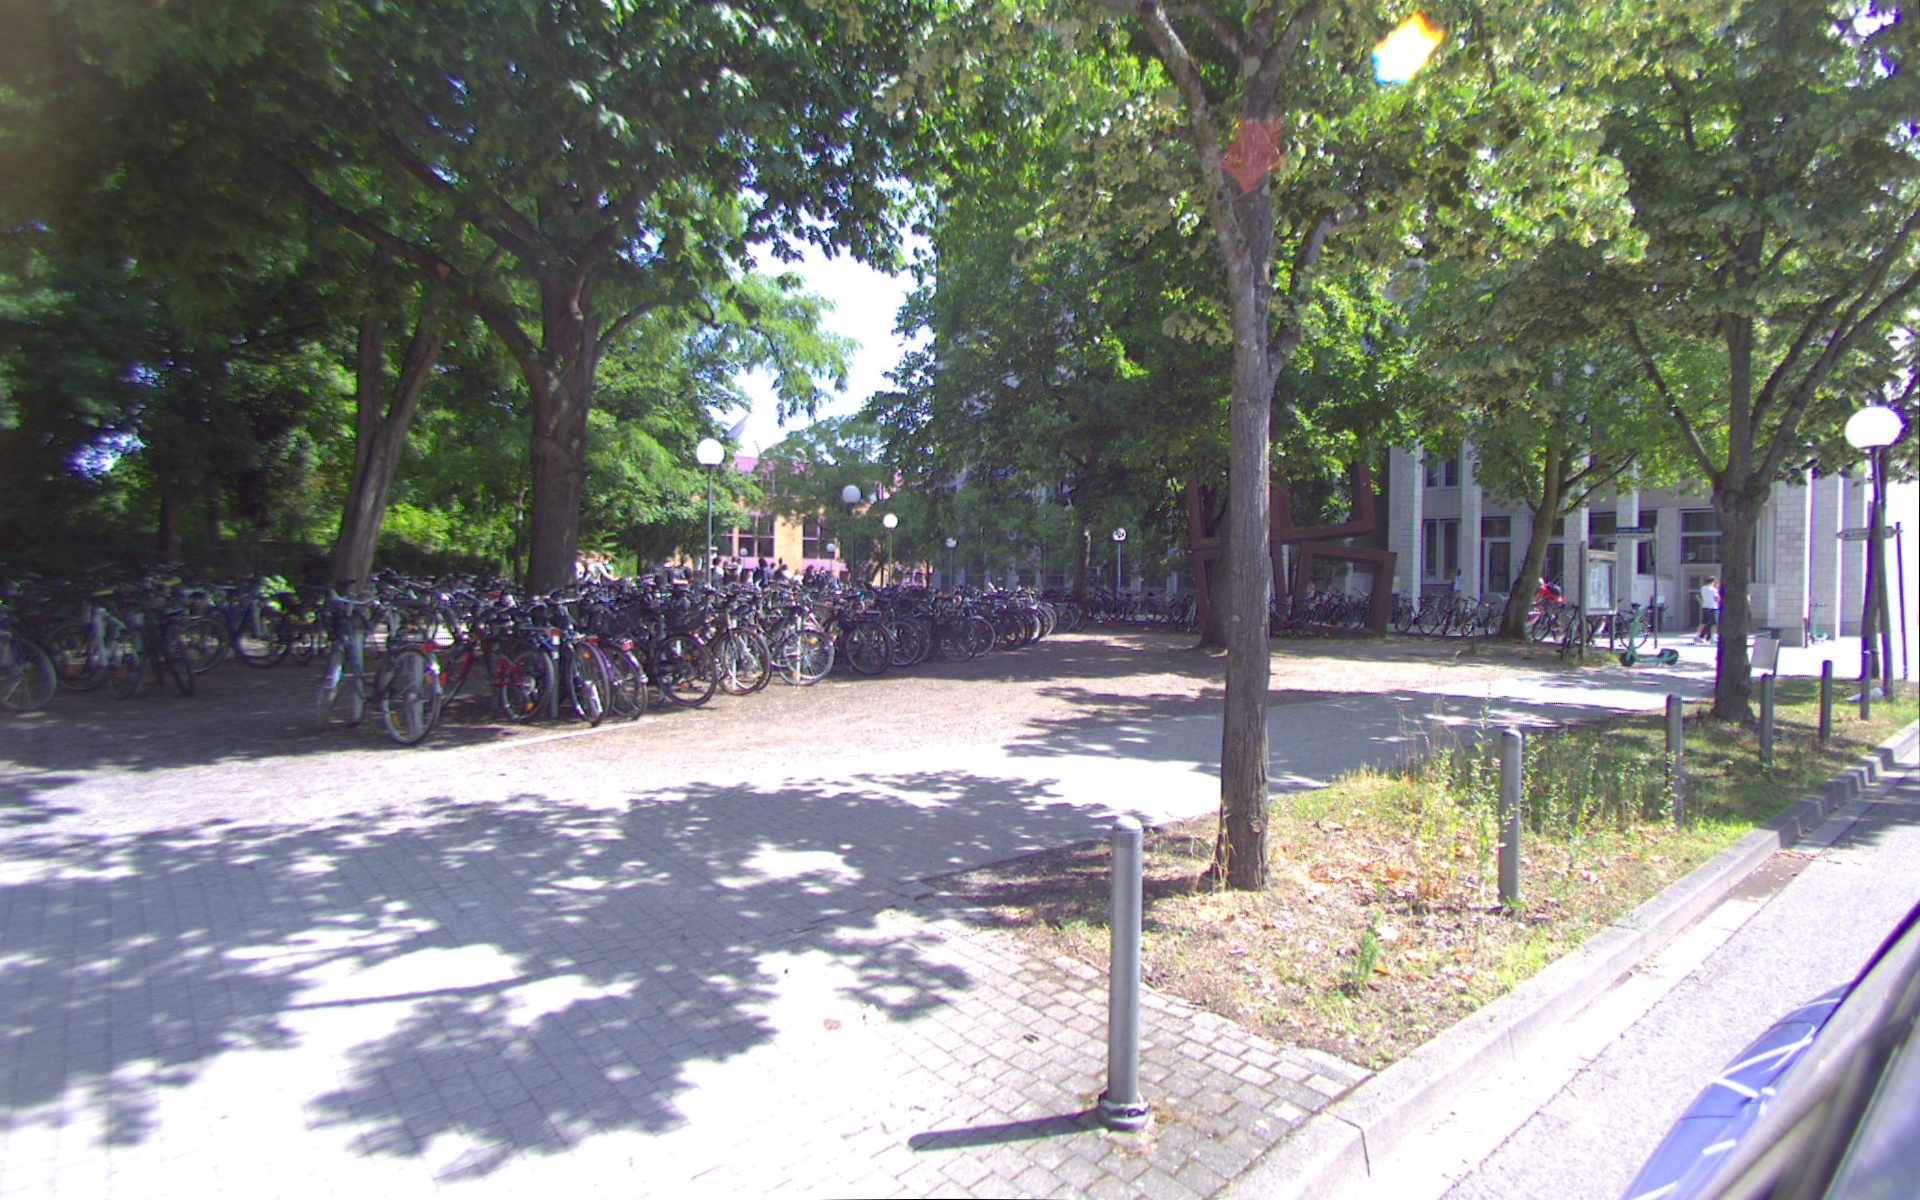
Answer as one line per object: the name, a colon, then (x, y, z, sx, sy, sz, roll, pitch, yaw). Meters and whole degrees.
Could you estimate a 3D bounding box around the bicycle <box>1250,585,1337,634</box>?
bicycle: (7.952, 0.208, 24.190, 1.895, 1.123, 0.630, 1, 2, 13)

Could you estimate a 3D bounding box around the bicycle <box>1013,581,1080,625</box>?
bicycle: (2.392, 0.076, 27.957, 1.816, 1.185, 0.412, 1, 1, 11)

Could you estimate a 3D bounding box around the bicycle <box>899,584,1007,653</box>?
bicycle: (-0.128, 0.297, 17.044, 1.772, 1.083, 0.423, 2, 1, 22)

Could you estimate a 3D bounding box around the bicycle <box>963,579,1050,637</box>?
bicycle: (1.003, 0.170, 21.835, 1.817, 1.185, 0.344, 1, 1, 13)

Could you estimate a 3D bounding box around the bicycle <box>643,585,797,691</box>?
bicycle: (-2.685, 0.390, 11.243, 1.895, 1.072, 0.322, 2, 1, 27)

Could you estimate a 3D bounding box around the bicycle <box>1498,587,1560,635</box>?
bicycle: (14.471, 0.286, 25.740, 1.494, 1.155, 0.493, 3, 1, -21)

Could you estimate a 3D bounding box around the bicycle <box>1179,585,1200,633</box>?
bicycle: (5.755, 0.201, 25.413, 0.468, 1.123, 1.664, 1, 2, 12)

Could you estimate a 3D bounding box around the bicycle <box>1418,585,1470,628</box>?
bicycle: (13.148, 0.196, 27.458, 1.664, 1.099, 0.482, 2, 1, -36)

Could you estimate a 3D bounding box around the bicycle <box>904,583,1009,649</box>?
bicycle: (-0.056, 0.267, 17.672, 1.767, 1.083, 0.425, 1, 1, 14)

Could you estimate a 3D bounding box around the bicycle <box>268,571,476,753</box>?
bicycle: (-4.443, 0.391, 7.580, 2.010, 1.181, 0.643, 2, 1, 38)

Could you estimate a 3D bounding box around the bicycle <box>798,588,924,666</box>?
bicycle: (-1.415, 0.364, 14.380, 1.769, 1.041, 0.380, 2, 1, 18)

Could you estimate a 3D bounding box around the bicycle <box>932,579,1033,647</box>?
bicycle: (0.409, 0.226, 18.434, 1.768, 1.185, 0.401, 2, 1, 16)

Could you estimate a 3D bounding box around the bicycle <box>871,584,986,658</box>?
bicycle: (-0.501, 0.312, 15.906, 1.770, 1.083, 0.424, 2, 1, 20)

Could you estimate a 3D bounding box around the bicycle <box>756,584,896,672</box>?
bicycle: (-1.724, 0.340, 13.036, 1.712, 1.065, 0.492, 1, 1, 13)

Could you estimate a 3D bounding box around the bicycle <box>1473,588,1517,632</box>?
bicycle: (14.073, 0.264, 26.605, 1.447, 1.099, 0.460, 2, 1, -40)

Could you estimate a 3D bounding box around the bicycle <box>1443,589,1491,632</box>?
bicycle: (13.673, 0.280, 27.268, 1.486, 1.099, 0.482, 2, 1, -36)

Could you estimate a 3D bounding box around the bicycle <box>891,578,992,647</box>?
bicycle: (-0.337, 0.210, 18.229, 1.768, 1.185, 0.401, 2, 1, 16)

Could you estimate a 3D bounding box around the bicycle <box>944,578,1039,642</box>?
bicycle: (0.618, 0.187, 19.803, 1.819, 1.185, 0.344, 2, 1, 16)

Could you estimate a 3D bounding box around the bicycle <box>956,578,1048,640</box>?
bicycle: (0.837, 0.176, 20.276, 1.811, 1.185, 0.345, 1, 1, 2)

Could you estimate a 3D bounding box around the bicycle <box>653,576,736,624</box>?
bicycle: (-5.825, -0.009, 22.199, 1.880, 0.991, 0.376, 2, 2, 20)

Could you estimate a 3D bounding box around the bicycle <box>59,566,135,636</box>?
bicycle: (-13.942, -0.004, 16.330, 1.737, 1.052, 0.344, 2, 2, 29)

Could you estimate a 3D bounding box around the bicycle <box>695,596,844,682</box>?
bicycle: (-2.252, 0.439, 11.924, 1.717, 0.921, 0.491, 2, 1, 21)

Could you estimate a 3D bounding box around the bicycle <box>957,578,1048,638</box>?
bicycle: (0.861, 0.159, 20.649, 1.811, 1.185, 0.345, 1, 1, 2)

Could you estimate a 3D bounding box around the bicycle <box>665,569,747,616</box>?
bicycle: (-5.665, -0.175, 22.584, 1.880, 0.991, 0.376, 2, 2, 20)

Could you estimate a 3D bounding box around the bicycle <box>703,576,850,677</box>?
bicycle: (-2.257, 0.307, 12.455, 1.712, 1.169, 0.492, 1, 1, 13)

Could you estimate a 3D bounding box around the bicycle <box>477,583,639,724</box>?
bicycle: (-3.562, 0.416, 8.877, 1.940, 1.096, 0.399, 2, 1, 38)

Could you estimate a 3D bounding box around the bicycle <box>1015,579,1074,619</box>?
bicycle: (2.644, -0.035, 31.835, 1.812, 1.185, 0.345, 1, 1, 5)

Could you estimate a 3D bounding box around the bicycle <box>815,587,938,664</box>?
bicycle: (-1.218, 0.352, 14.690, 1.769, 1.041, 0.379, 2, 1, 18)

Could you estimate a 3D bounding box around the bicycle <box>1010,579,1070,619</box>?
bicycle: (2.484, -0.042, 31.499, 1.812, 1.185, 0.345, 1, 1, 5)

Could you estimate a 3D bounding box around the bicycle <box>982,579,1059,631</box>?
bicycle: (1.454, 0.107, 24.380, 1.817, 1.185, 0.352, 1, 1, 13)

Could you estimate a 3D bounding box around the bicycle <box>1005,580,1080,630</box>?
bicycle: (2.052, 0.113, 25.143, 1.817, 1.185, 0.352, 1, 1, 13)

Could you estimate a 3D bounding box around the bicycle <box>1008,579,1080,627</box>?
bicycle: (2.156, 0.062, 25.977, 1.816, 1.185, 0.387, 1, 1, 11)

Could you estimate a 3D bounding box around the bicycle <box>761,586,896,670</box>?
bicycle: (-1.765, 0.360, 13.544, 1.773, 1.041, 0.438, 2, 1, 18)

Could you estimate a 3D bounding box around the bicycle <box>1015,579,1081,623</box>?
bicycle: (2.475, 0.016, 28.446, 1.816, 1.185, 0.412, 1, 1, 11)

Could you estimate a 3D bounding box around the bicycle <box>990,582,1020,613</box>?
bicycle: (1.643, -0.101, 36.808, 0.350, 1.097, 1.452, 1, 1, 36)

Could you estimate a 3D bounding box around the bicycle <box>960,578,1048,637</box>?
bicycle: (0.929, 0.149, 21.497, 1.817, 1.185, 0.344, 1, 1, 13)

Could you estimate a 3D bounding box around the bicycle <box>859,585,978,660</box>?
bicycle: (-0.639, 0.325, 15.490, 1.770, 1.083, 0.424, 2, 1, 20)

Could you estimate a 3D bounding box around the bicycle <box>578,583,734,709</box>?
bicycle: (-2.995, 0.405, 9.858, 1.940, 1.096, 0.399, 2, 1, 38)

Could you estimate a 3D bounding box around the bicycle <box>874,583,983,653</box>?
bicycle: (-0.529, 0.288, 16.762, 1.772, 1.083, 0.423, 2, 1, 22)

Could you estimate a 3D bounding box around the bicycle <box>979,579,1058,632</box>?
bicycle: (1.382, 0.120, 24.030, 1.817, 1.185, 0.352, 1, 1, 13)

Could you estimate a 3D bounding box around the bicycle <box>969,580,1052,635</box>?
bicycle: (1.143, 0.165, 22.891, 1.817, 1.185, 0.352, 1, 1, 13)

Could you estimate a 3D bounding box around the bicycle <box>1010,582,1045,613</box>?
bicycle: (2.423, -0.087, 36.144, 1.448, 1.097, 0.352, 0, 1, -45)

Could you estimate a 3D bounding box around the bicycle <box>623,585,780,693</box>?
bicycle: (-2.829, 0.395, 10.971, 1.895, 1.072, 0.322, 2, 1, 27)

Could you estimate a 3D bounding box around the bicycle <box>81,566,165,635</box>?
bicycle: (-13.778, -0.011, 16.647, 1.737, 1.052, 0.474, 2, 2, 29)

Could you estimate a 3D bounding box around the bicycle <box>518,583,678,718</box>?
bicycle: (-3.339, 0.413, 9.243, 1.940, 1.096, 0.399, 2, 1, 38)

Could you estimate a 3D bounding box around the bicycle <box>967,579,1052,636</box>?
bicycle: (1.076, 0.157, 22.164, 1.817, 1.185, 0.344, 1, 1, 13)

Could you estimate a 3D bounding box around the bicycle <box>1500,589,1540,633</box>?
bicycle: (14.648, 0.285, 26.481, 1.416, 1.099, 0.460, 2, 1, -44)

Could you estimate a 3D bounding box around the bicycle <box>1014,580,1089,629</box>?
bicycle: (2.303, 0.110, 25.477, 1.817, 1.185, 0.387, 1, 1, 13)

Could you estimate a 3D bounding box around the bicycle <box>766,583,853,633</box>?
bicycle: (-3.216, 0.156, 21.602, 1.880, 0.991, 0.376, 2, 2, 20)

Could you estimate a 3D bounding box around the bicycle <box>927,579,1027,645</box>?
bicycle: (0.320, 0.210, 19.137, 1.819, 1.185, 0.401, 2, 1, 16)

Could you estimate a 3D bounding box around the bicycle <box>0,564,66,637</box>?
bicycle: (-14.603, -0.014, 15.733, 1.816, 1.052, 0.474, 2, 2, 29)

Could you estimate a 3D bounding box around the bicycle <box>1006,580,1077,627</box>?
bicycle: (2.152, 0.083, 26.604, 1.816, 1.185, 0.412, 1, 1, 11)

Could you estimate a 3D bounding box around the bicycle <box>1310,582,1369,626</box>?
bicycle: (10.176, 0.118, 27.098, 1.792, 1.091, 0.464, 2, 1, -33)

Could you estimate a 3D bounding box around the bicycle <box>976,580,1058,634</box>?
bicycle: (1.304, 0.155, 23.237, 1.817, 1.185, 0.352, 1, 1, 13)

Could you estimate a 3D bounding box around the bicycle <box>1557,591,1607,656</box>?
bicycle: (11.825, 0.420, 19.275, 0.622, 1.097, 1.674, -1, 2, 26)

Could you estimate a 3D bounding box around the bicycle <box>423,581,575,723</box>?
bicycle: (-4.025, 0.404, 8.770, 1.764, 1.096, 0.432, 2, 1, 38)

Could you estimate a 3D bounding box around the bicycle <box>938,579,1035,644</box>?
bicycle: (0.510, 0.207, 19.467, 1.819, 1.185, 0.344, 2, 1, 16)
